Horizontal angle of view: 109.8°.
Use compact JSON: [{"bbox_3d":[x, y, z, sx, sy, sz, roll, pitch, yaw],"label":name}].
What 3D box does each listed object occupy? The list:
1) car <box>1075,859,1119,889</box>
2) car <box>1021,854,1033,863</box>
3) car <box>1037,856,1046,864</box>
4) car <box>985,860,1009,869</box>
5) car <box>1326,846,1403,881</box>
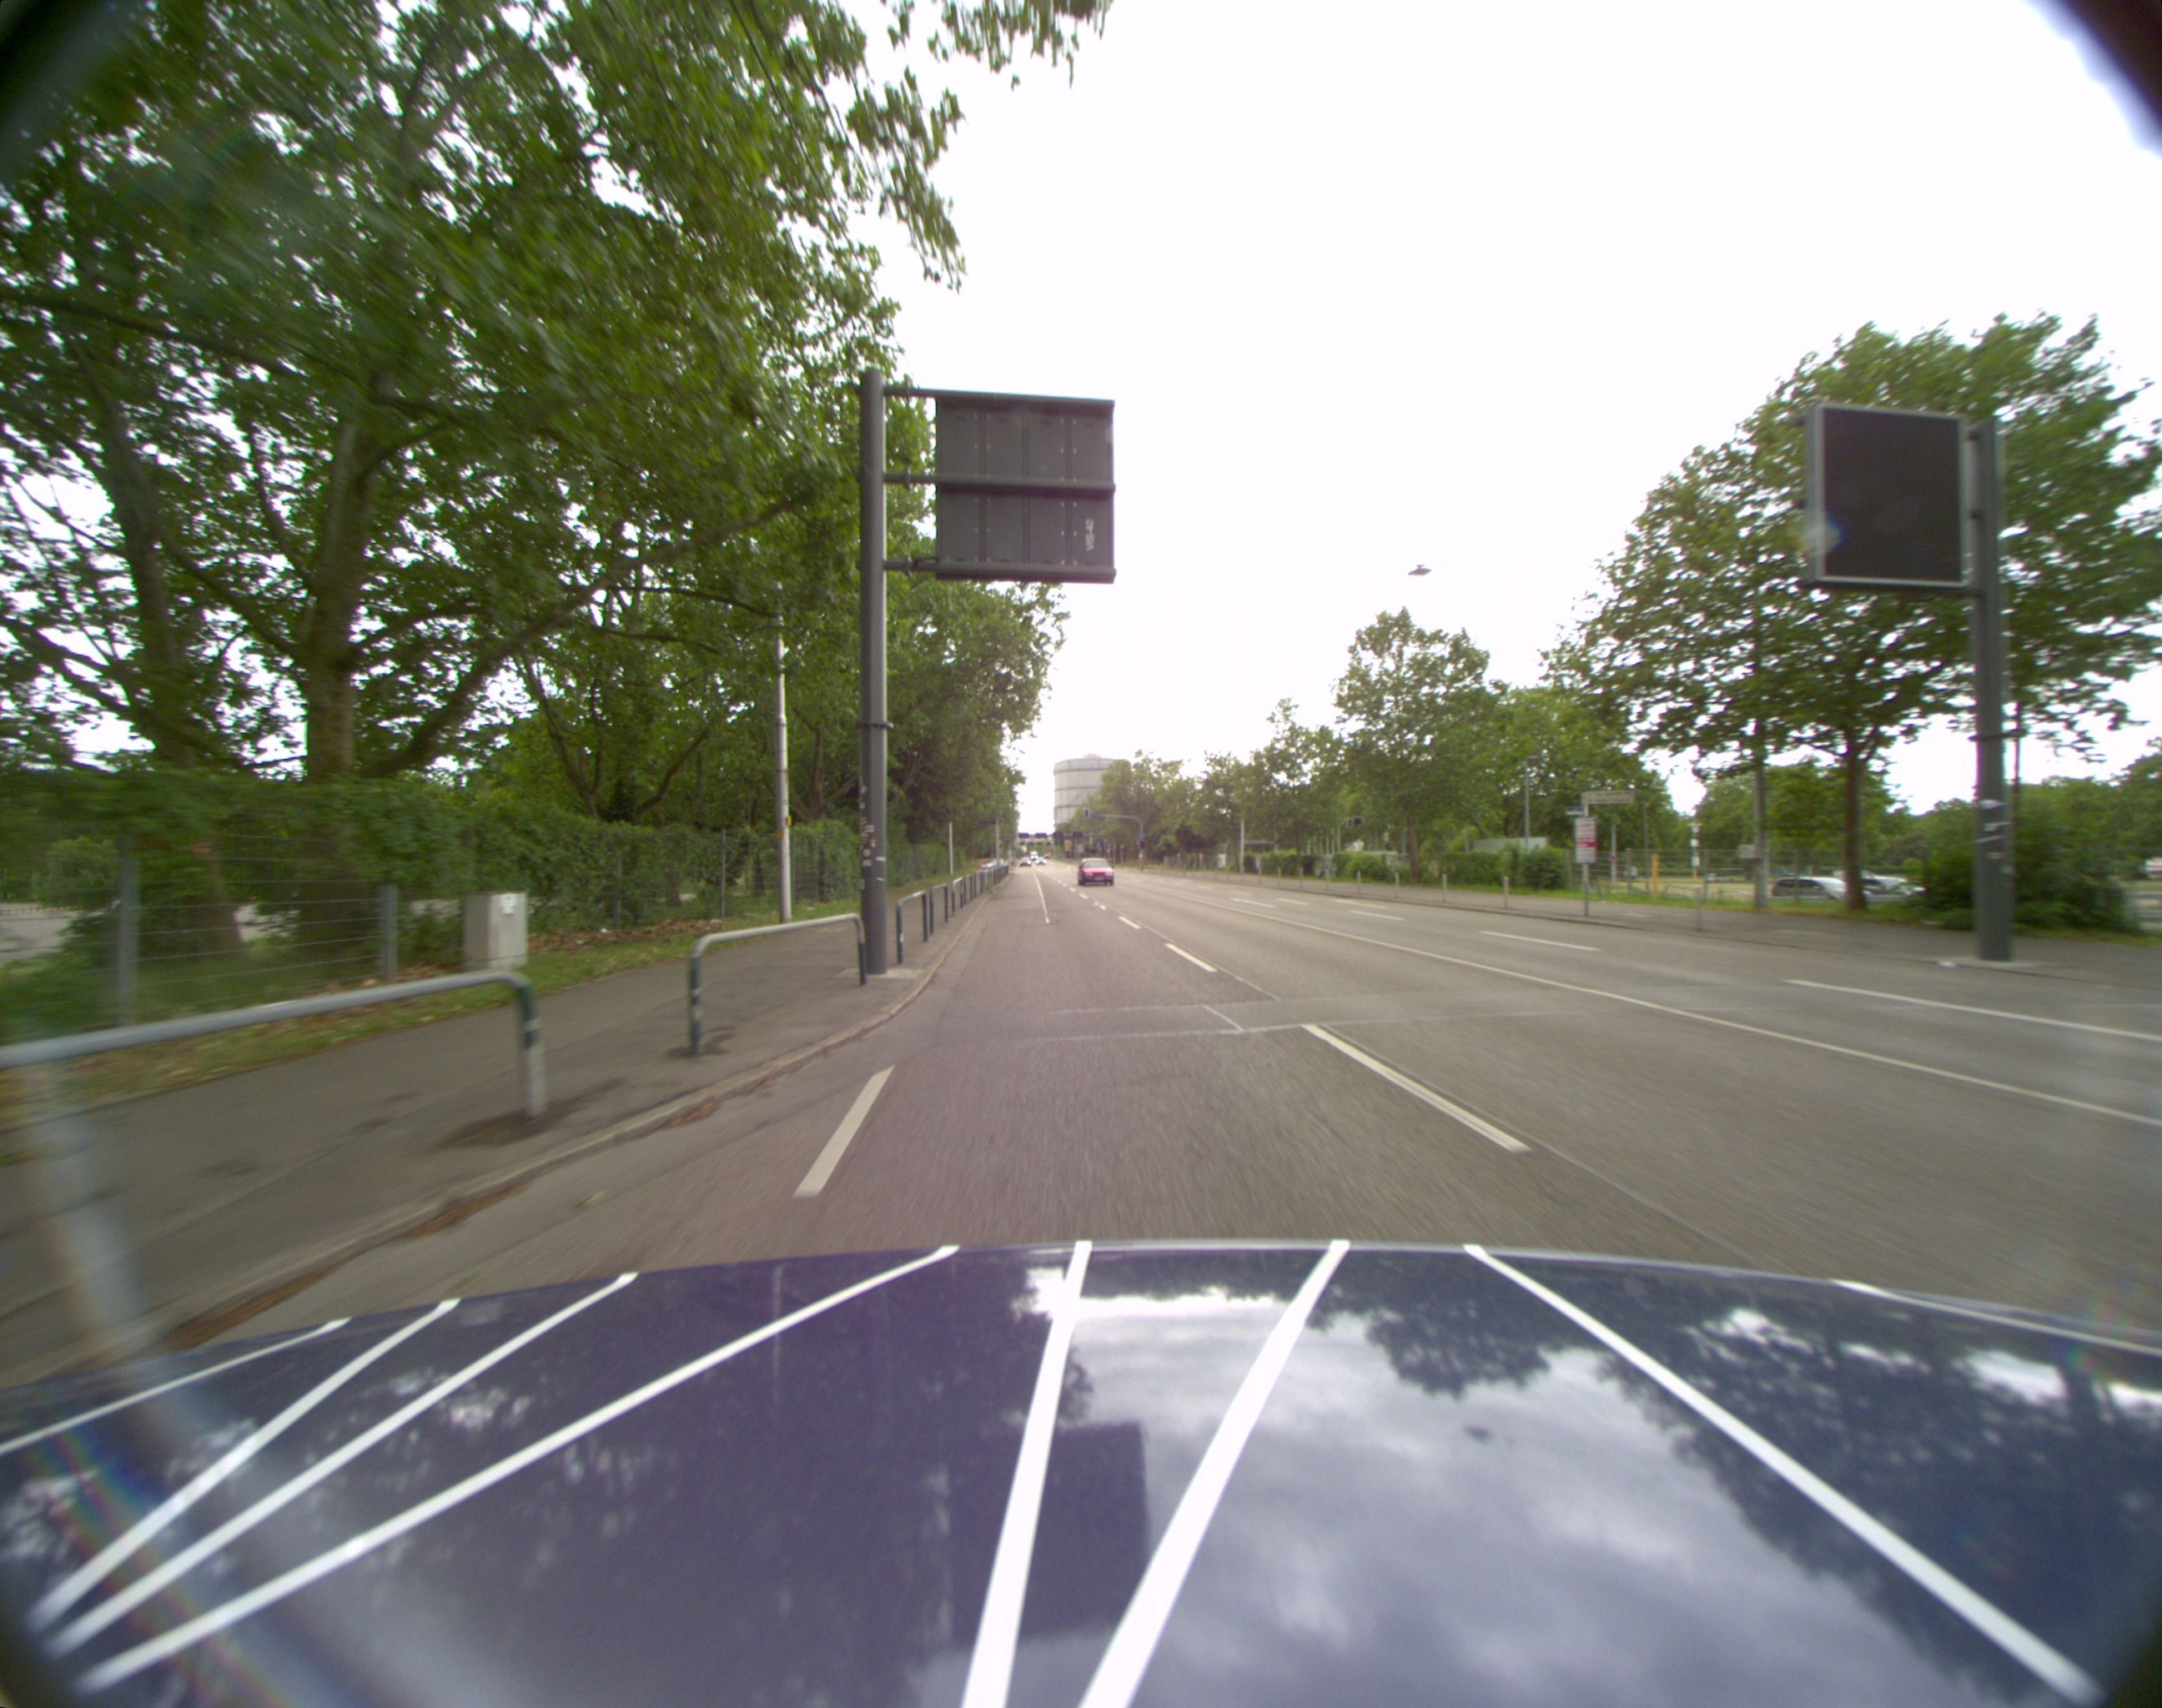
[{"bbox_3d":[0.793,1.005,40.575,1.834,1.443,4.074,-2,0,-5],"label":"car"},{"bbox_3d":[-9.275,0.781,130.124,1.799,1.501,3.999,-2,1,0],"label":"car"},{"bbox_3d":[-8.034,1.249,153.345,1.799,1.501,3.998,-1,0,-4],"label":"car"},{"bbox_3d":[-12.934,1.655,116.573,1.737,1.363,3.879,0,0,29],"label":"car"},{"bbox_3d":[17.016,0.536,45.843,2.394,2.002,4.632,0,0,-9],"label":"car"}]
